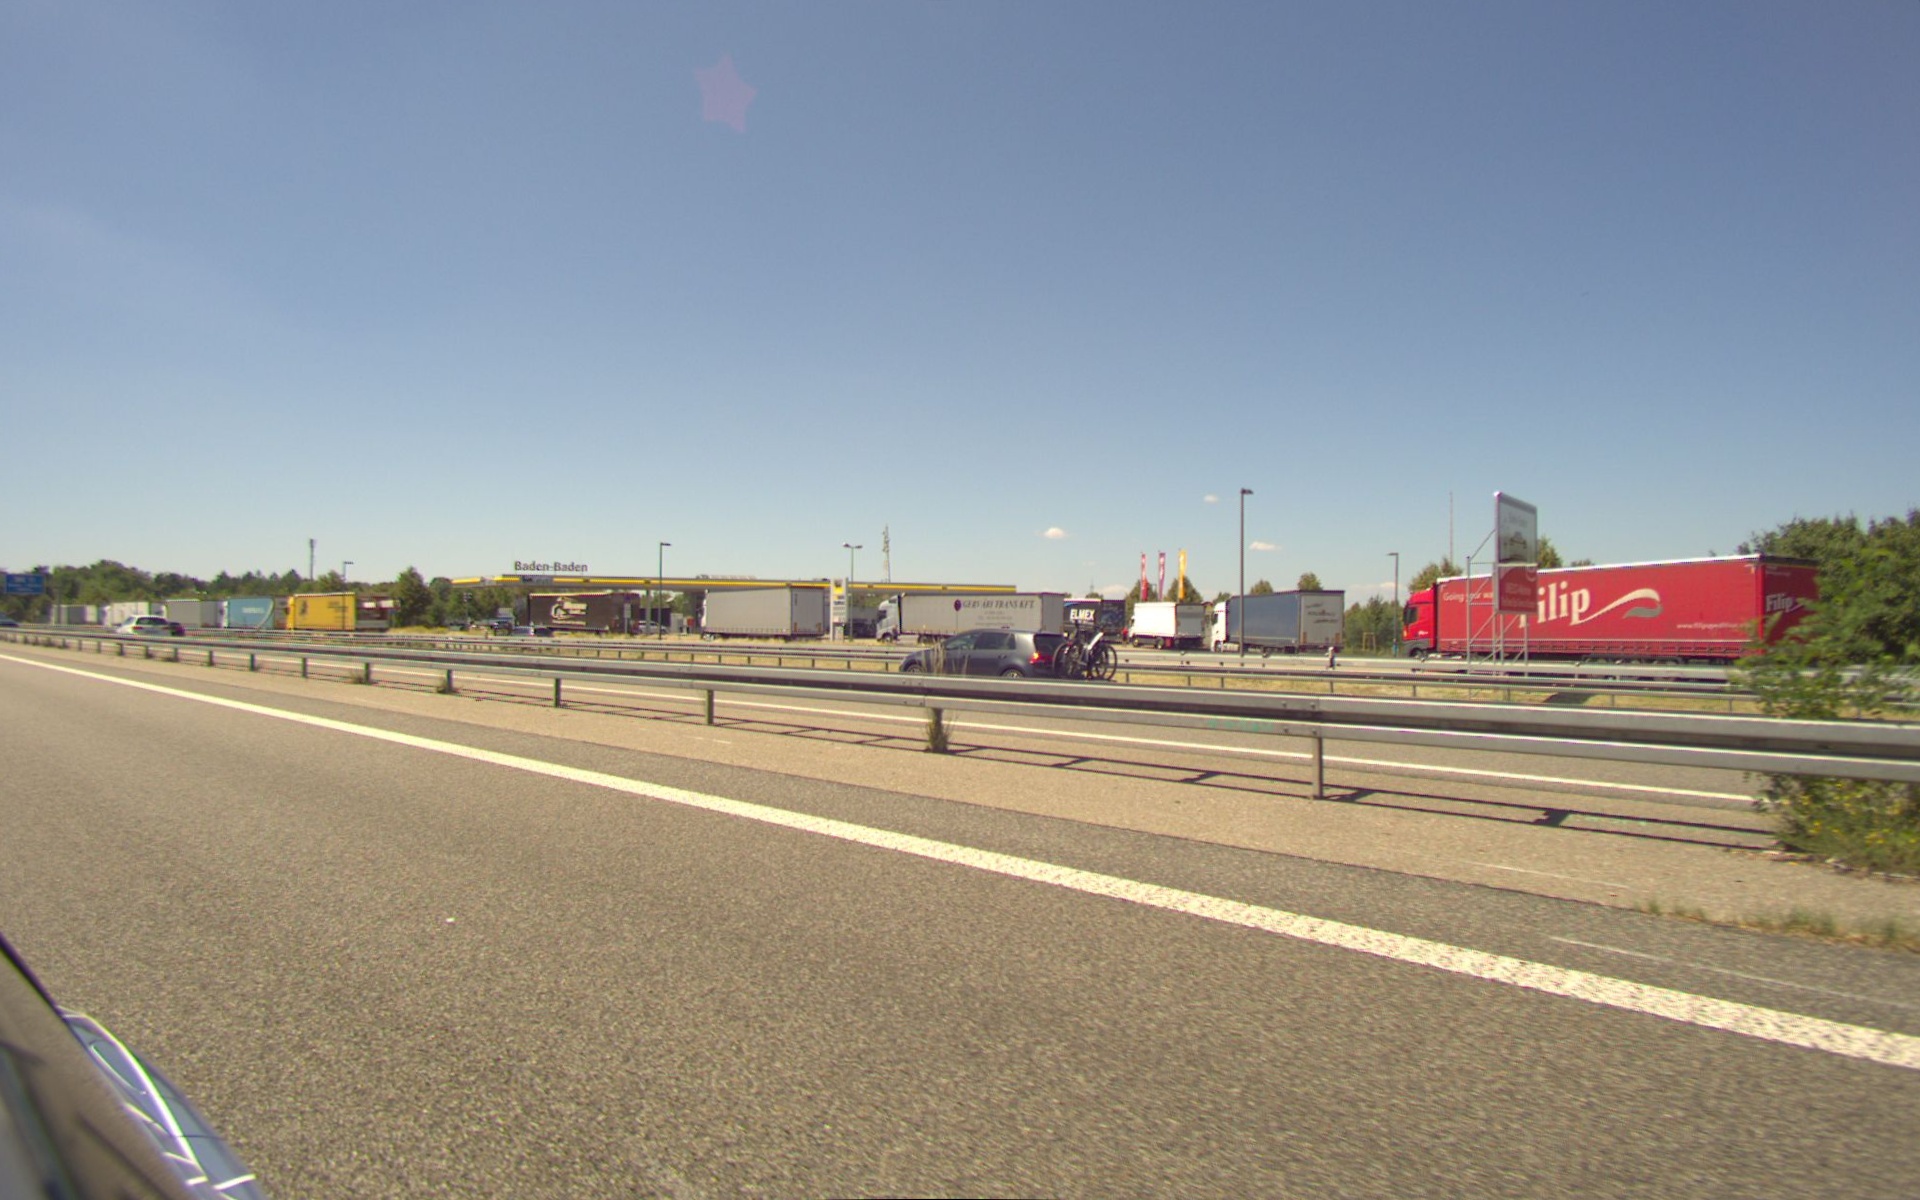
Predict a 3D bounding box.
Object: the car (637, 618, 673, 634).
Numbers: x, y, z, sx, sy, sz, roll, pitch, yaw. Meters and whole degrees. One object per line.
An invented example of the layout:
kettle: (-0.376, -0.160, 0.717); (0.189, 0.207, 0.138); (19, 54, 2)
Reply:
car: (-41.754, 3.587, 138.646); (4.523, 2.003, 1.957); (-1, 0, -21)

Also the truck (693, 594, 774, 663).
truck: (-17.069, 2.053, 75.991); (3.257, 4.886, 7.645); (-1, 0, -34)

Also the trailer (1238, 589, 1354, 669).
trailer: (19.863, 1.578, 60.775); (3.122, 4.298, 11.064); (-1, 0, 0)

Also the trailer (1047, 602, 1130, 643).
trailer: (11.802, 1.990, 94.618); (2.951, 3.547, 11.099); (-1, 0, -20)

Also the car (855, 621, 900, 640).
car: (-8.891, 3.236, 108.308); (4.989, 2.003, 1.794); (-1, 0, 41)

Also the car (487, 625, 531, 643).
car: (-56.092, 4.216, 125.900); (4.797, 2.003, 1.956); (-1, 0, -18)

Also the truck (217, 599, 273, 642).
truck: (-71.834, 2.033, 101.568); (7.083, 4.104, 2.821); (-1, 0, 40)

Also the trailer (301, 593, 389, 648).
trailer: (-50.935, 1.705, 83.613); (11.074, 4.251, 2.805); (-1, 0, 40)

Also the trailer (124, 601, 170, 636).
trailer: (-102.662, 2.333, 127.677); (10.507, 4.250, 2.572); (-1, 0, 40)

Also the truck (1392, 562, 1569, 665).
truck: (22.306, 0.524, 43.843); (3.075, 4.080, 6.664); (-1, 0, -15)

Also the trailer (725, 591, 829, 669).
trailer: (-12.745, 1.973, 69.546); (3.257, 4.911, 9.708); (-1, 0, -34)

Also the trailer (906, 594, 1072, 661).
trailer: (1.855, 1.894, 72.742); (12.920, 4.390, 3.265); (-1, 0, 43)

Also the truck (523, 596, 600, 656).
truck: (-34.138, 2.197, 86.551); (7.877, 4.886, 2.993); (-1, 0, 43)

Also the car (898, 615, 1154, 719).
car: (1.231, 1.264, 20.663); (5.043, 1.824, 1.934); (-1, 0, 40)

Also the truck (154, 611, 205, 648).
truck: (-91.219, 3.390, 118.187); (7.497, 4.189, 3.086); (-1, 0, 40)

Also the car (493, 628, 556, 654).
car: (-27.350, 2.559, 63.533); (4.506, 1.500, 1.794); (-1, 0, 41)

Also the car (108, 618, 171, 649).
car: (-43.018, 1.746, 53.017); (4.664, 1.541, 1.700); (-1, -4, 41)

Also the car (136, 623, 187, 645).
car: (-54.206, 2.314, 68.666); (4.543, 1.409, 1.849); (-1, -4, 41)

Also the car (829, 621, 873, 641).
car: (-11.457, 3.240, 106.185); (4.780, 2.003, 1.794); (-1, 0, 41)

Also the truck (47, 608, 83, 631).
truck: (-152.848, 3.342, 172.831); (13.597, 3.670, 2.770); (-1, 0, 41)

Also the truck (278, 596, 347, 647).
truck: (-56.653, 1.824, 88.503); (7.912, 4.232, 2.805); (-1, 0, 40)

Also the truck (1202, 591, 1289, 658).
truck: (19.324, 1.568, 69.042); (3.124, 4.283, 6.658); (-1, 0, -9)

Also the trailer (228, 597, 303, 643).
trailer: (-67.121, 1.908, 97.657); (12.074, 4.180, 2.805); (-1, 0, 40)

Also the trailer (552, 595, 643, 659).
trailer: (-29.639, 2.115, 82.416); (9.133, 4.886, 3.000); (-1, 0, 43)

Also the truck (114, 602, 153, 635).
truck: (-108.192, 2.424, 132.401); (7.931, 4.220, 2.555); (-1, -1, 41)

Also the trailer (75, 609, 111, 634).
trailer: (-154.927, 3.795, 180.825); (12.002, 4.187, 3.062); (-1, 0, 41)

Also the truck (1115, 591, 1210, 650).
truck: (16.081, 1.538, 81.487); (3.008, 4.390, 10.746); (-1, 0, -14)

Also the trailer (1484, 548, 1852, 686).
trailer: (24.389, 0.499, 36.163); (3.078, 4.086, 11.346); (-1, 0, -15)

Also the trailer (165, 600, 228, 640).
trailer: (-85.889, 2.239, 113.746); (11.005, 4.189, 3.082); (-1, 0, 40)

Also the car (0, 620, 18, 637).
car: (-100.713, 2.988, 106.344); (5.013, 1.659, 1.952); (-1, 0, 41)

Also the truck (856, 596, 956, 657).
truck: (-4.232, 2.004, 78.395); (7.625, 4.390, 3.266); (-1, 0, 43)
